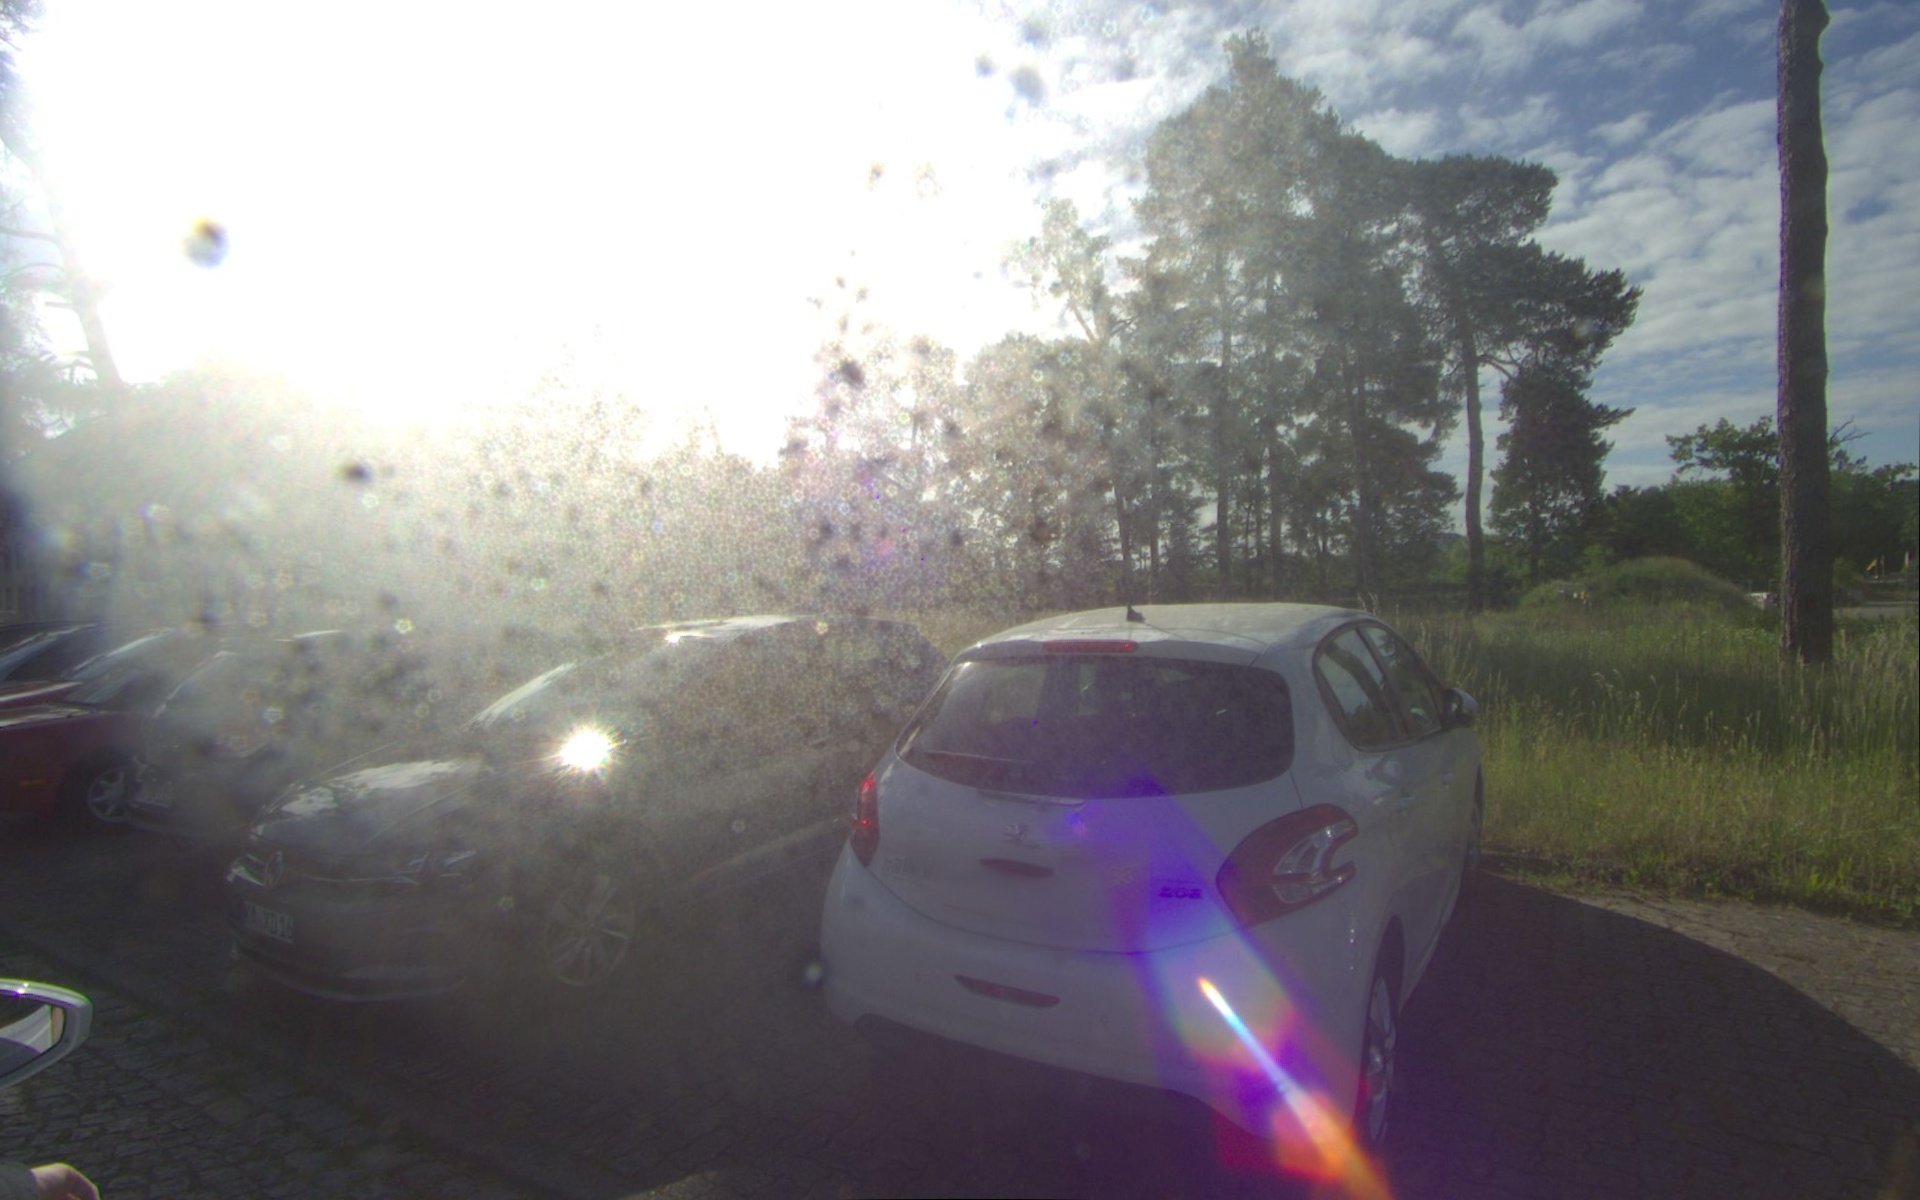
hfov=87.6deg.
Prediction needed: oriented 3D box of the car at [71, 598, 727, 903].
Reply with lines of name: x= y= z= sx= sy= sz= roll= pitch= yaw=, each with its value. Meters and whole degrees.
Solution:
car: x=-3.678 y=0.786 z=7.224 sx=1.790 sy=1.469 sz=3.698 roll=0 pitch=2 yaw=32

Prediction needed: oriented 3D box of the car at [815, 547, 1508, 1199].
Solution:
car: x=1.261 y=0.601 z=4.354 sx=1.736 sy=1.555 sz=3.697 roll=0 pitch=2 yaw=32

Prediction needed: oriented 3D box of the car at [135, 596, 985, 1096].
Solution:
car: x=-1.613 y=0.775 z=5.191 sx=1.830 sy=1.469 sz=3.697 roll=0 pitch=2 yaw=32

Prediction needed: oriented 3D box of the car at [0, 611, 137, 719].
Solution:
car: x=-14.139 y=0.946 z=13.879 sx=1.613 sy=1.434 sz=3.872 roll=0 pitch=2 yaw=32

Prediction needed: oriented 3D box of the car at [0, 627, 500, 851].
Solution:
car: x=-6.038 y=0.947 z=8.283 sx=1.721 sy=1.240 sz=3.697 roll=0 pitch=2 yaw=32

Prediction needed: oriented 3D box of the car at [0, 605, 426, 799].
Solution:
car: x=-7.796 y=0.862 z=9.932 sx=1.613 sy=1.469 sz=4.117 roll=0 pitch=2 yaw=32

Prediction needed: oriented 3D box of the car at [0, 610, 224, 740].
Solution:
car: x=-11.966 y=0.937 z=12.187 sx=1.613 sy=1.434 sz=4.547 roll=0 pitch=2 yaw=32

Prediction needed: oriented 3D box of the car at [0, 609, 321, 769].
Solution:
car: x=-9.697 y=0.908 z=10.766 sx=1.755 sy=1.434 sz=4.420 roll=0 pitch=2 yaw=32
